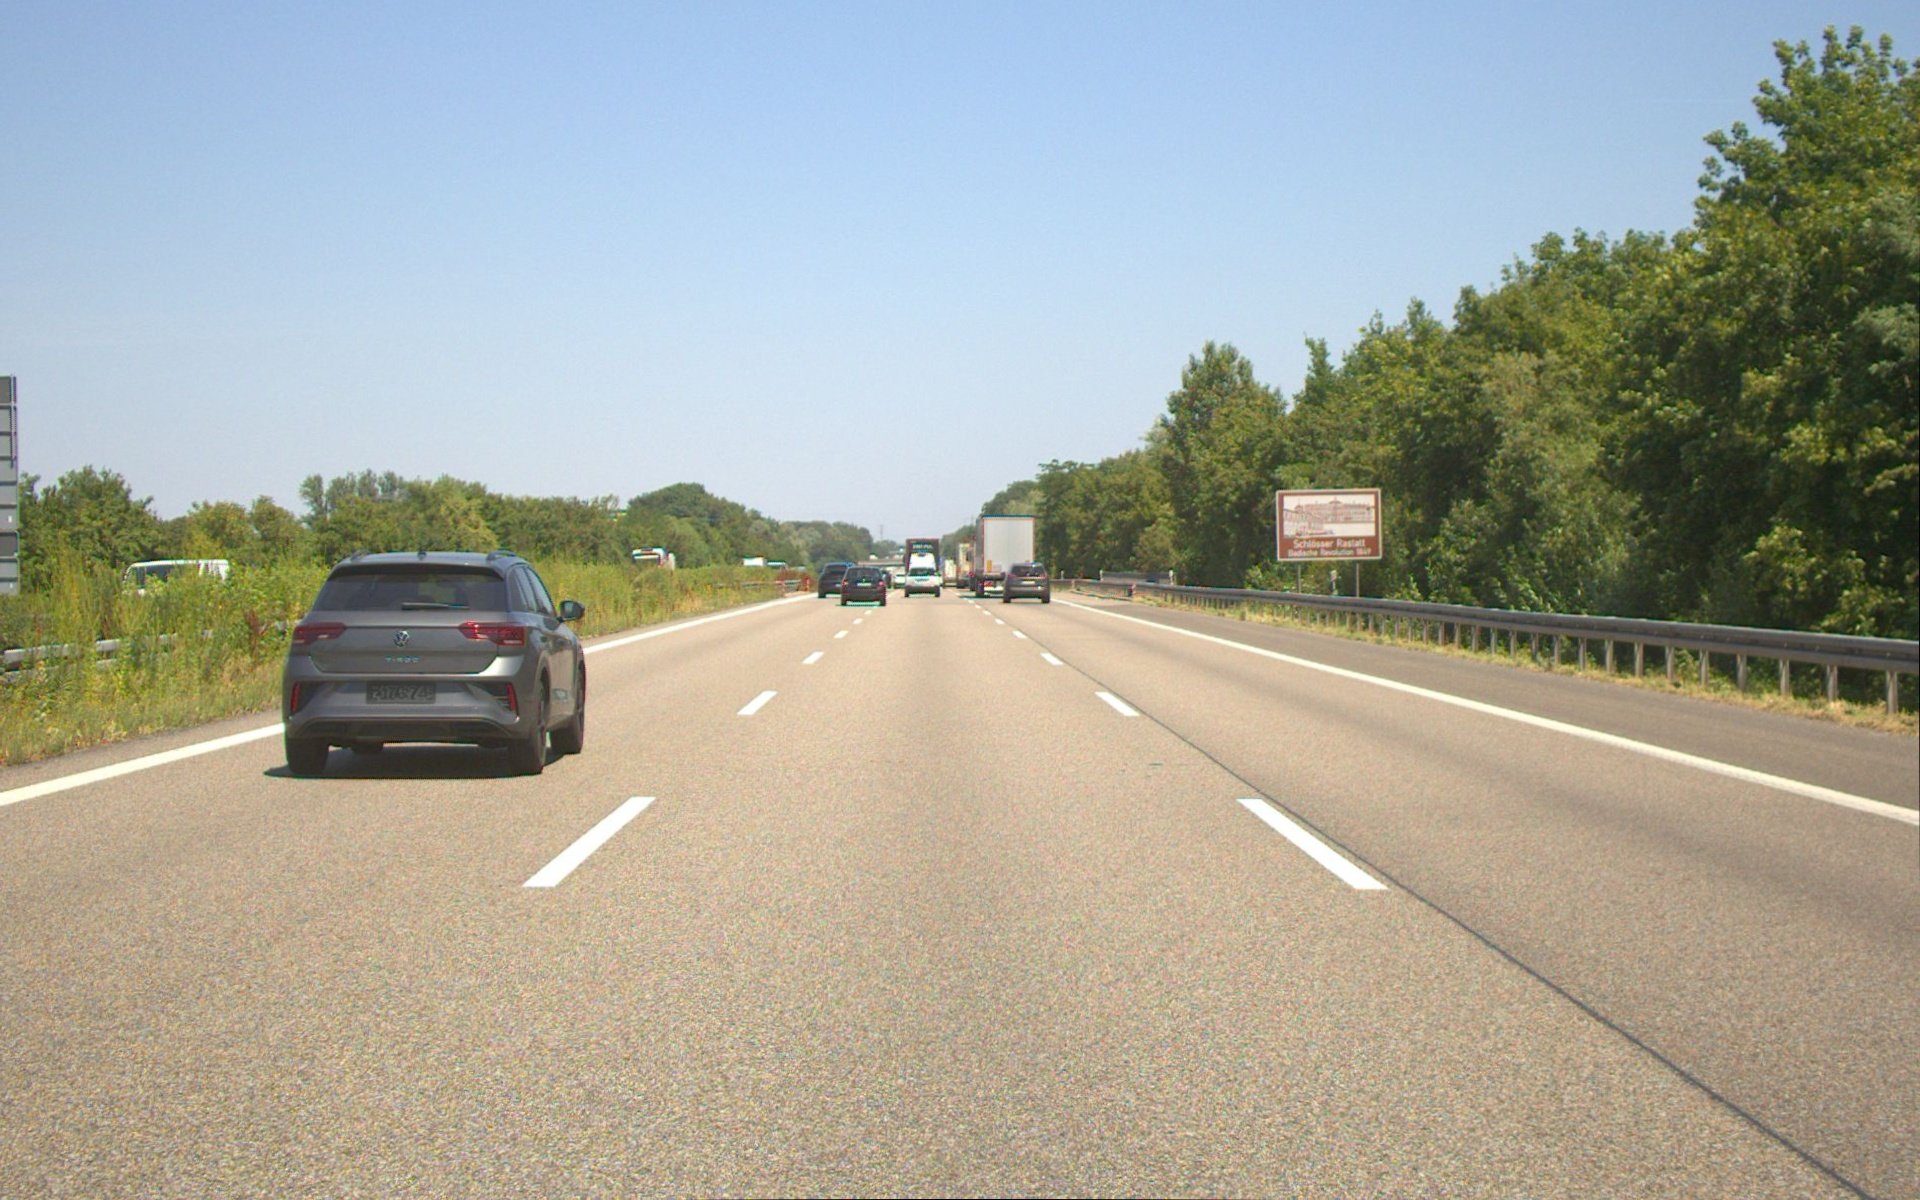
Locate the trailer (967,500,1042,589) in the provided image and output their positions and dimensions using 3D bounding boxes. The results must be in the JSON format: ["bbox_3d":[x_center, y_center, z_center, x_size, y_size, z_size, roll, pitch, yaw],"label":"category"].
[{"bbox_3d":[2.158,-2.699,172.053,3.434,4.167,13.632,1,0,0],"label":"trailer"}]

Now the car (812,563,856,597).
[{"bbox_3d":[-5.889,-0.947,161.070,1.907,1.526,4.285,1,1,-1],"label":"car"}]

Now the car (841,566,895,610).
[{"bbox_3d":[-3.366,-0.438,126.298,1.900,1.526,4.084,1,1,-1],"label":"car"}]

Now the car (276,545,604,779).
[{"bbox_3d":[-3.685,0.379,25.026,1.759,1.526,4.285,1,1,-1],"label":"car"}]

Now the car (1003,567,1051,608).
[{"bbox_3d":[2.684,-0.508,138.972,1.845,1.623,4.135,0,0,0],"label":"car"}]

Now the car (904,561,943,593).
[{"bbox_3d":[-1.831,-1.150,172.076,1.900,1.526,4.084,1,1,-1],"label":"car"}]
